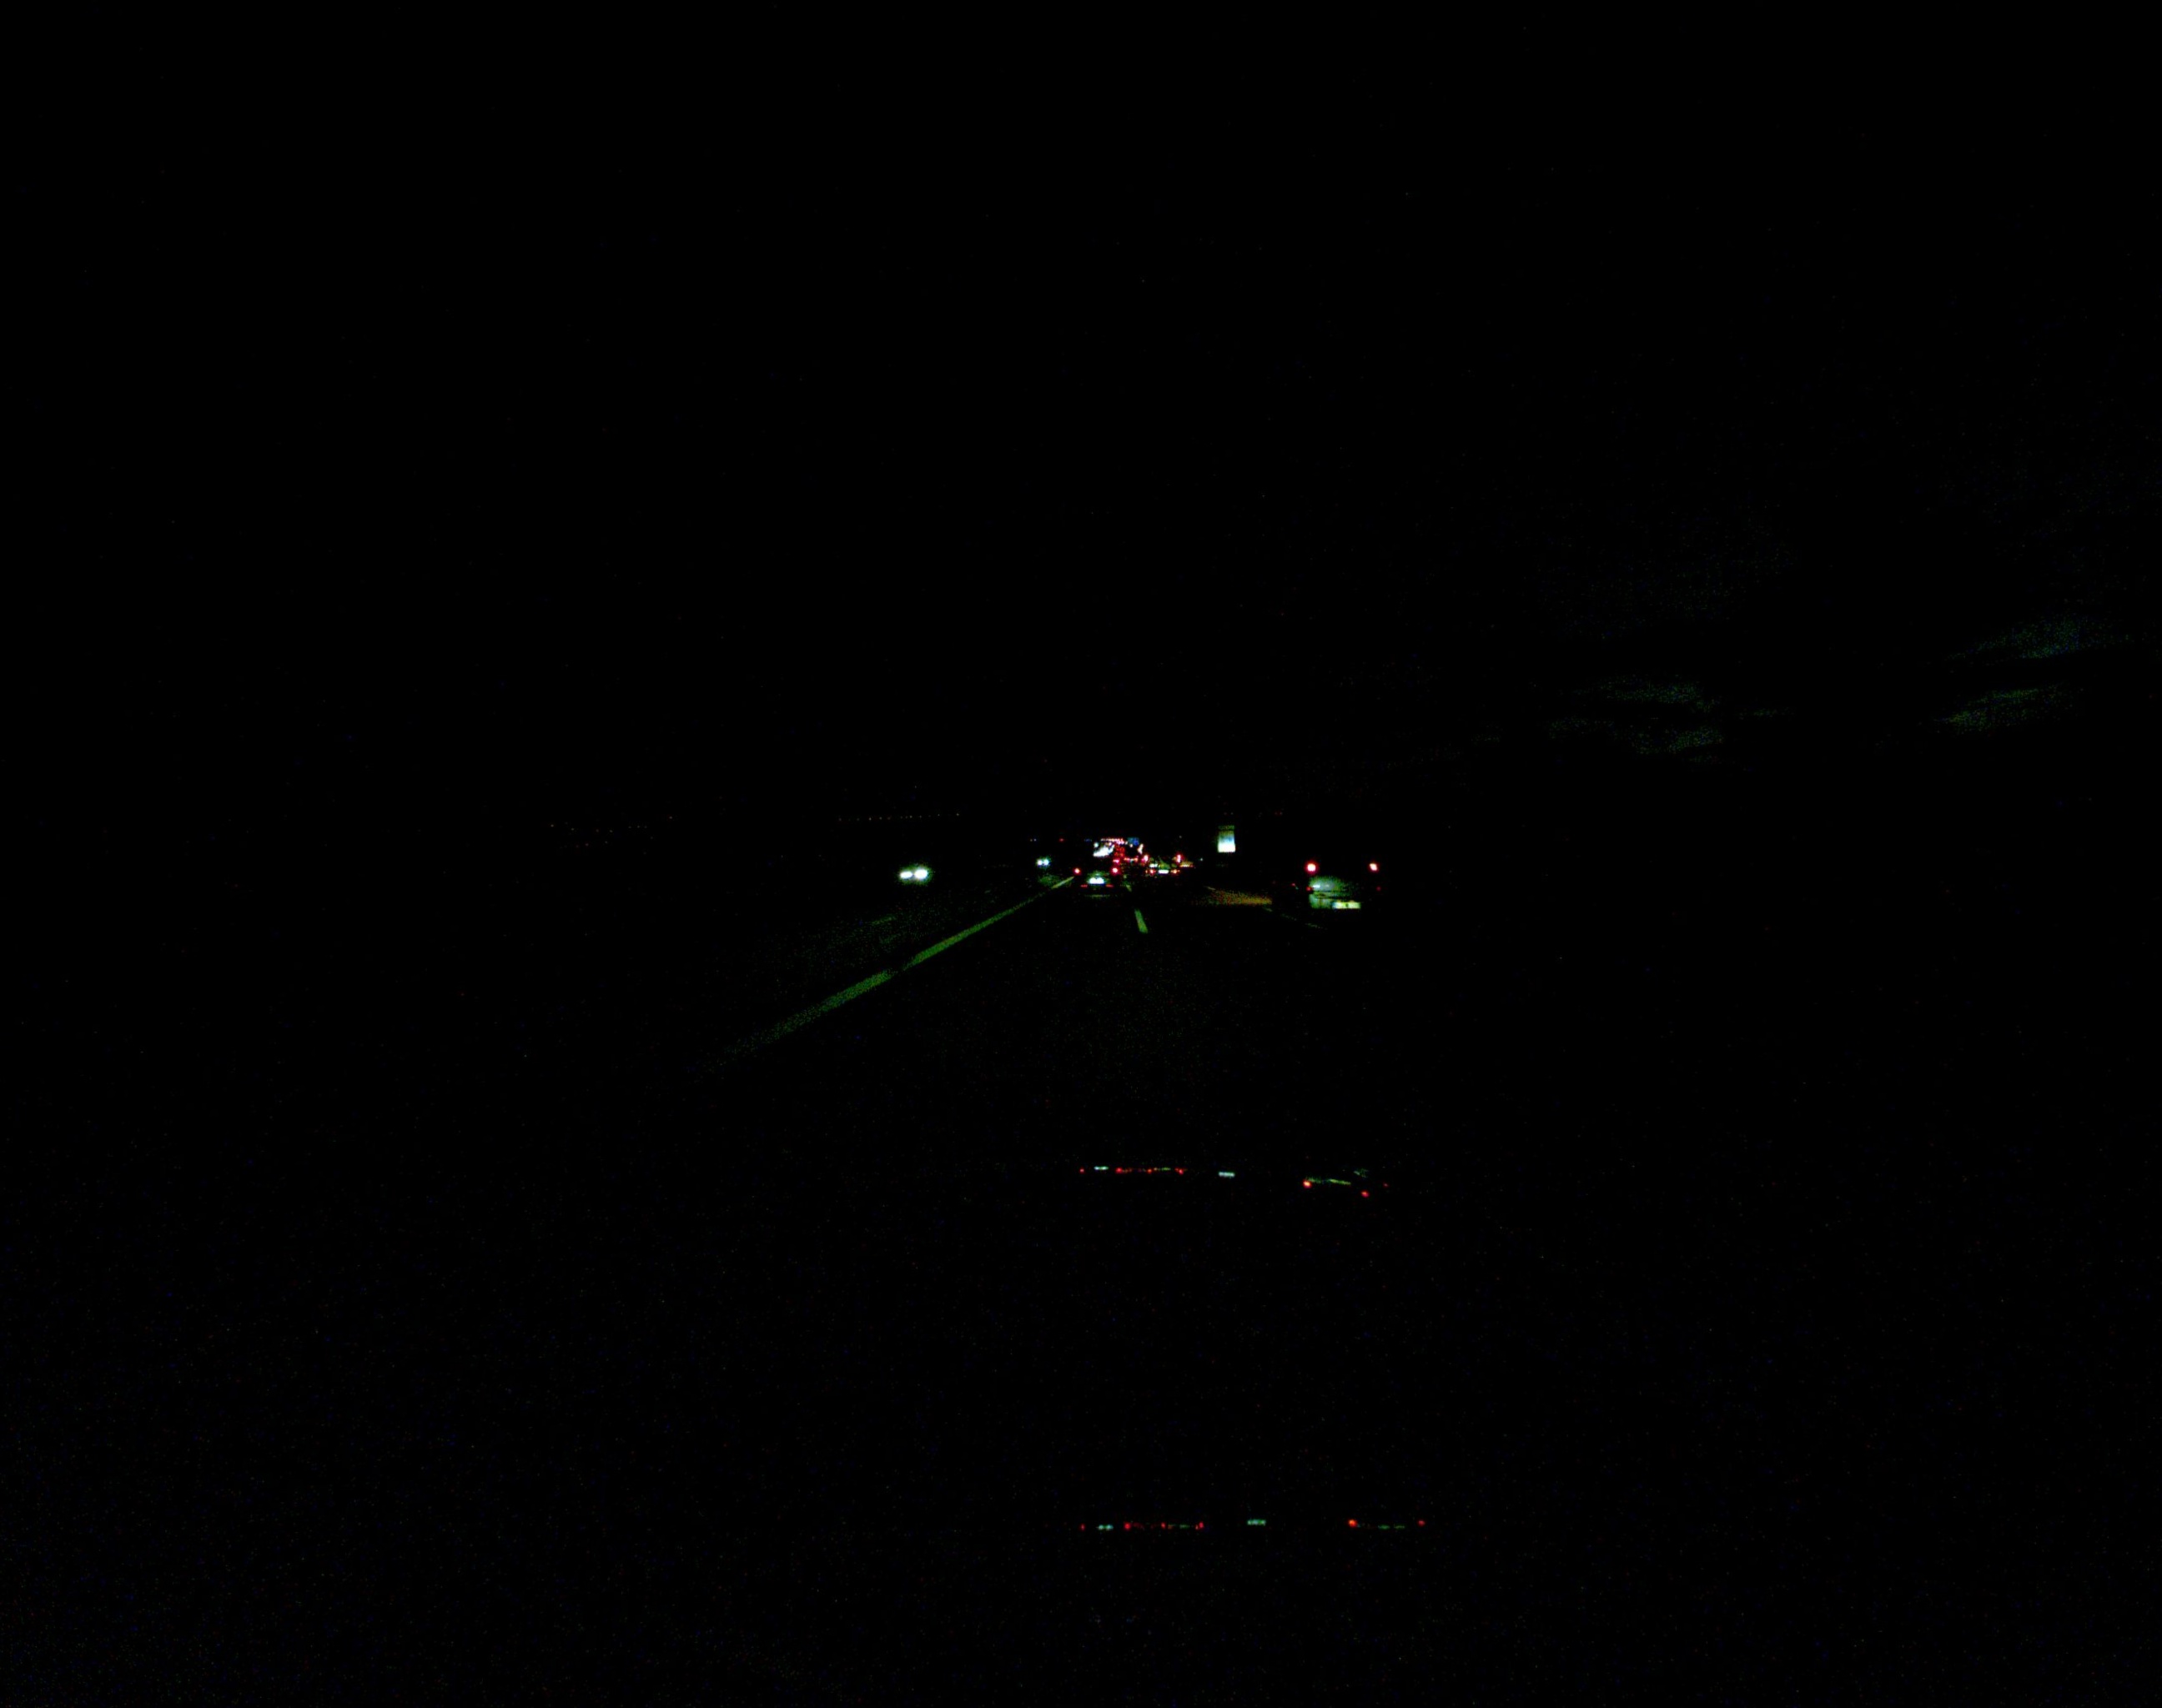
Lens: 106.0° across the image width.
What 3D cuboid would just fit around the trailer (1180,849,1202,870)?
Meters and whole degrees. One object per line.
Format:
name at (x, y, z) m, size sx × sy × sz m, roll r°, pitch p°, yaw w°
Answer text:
trailer at (9.198, 0.431, 68.371) m, size 1.559 × 1.693 × 2.823 m, roll -2°, pitch 0°, yaw 3°

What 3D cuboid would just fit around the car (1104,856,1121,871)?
car at (3.370, 0.987, 86.830) m, size 1.737 × 1.440 × 4.371 m, roll -2°, pitch 0°, yaw 3°

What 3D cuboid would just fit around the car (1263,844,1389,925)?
car at (5.417, 0.608, 18.570) m, size 1.640 × 1.596 × 4.512 m, roll -1°, pitch 0°, yaw 2°

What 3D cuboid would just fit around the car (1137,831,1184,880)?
car at (4.486, 0.048, 47.012) m, size 2.342 × 2.535 × 5.705 m, roll -2°, pitch 0°, yaw 3°

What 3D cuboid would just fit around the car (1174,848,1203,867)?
car at (9.463, 0.306, 72.026) m, size 2.154 × 1.563 × 4.726 m, roll -2°, pitch 0°, yaw 3°

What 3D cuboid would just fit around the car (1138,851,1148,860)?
car at (15.558, 0.453, 206.002) m, size 2.342 × 2.075 × 4.726 m, roll -2°, pitch 0°, yaw 3°

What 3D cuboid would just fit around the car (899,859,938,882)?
car at (-13.893, 1.377, 70.067) m, size 2.036 × 1.720 × 4.778 m, roll -4°, pitch 0°, yaw 3°

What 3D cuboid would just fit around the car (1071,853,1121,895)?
car at (0.647, 0.742, 32.198) m, size 1.786 × 1.469 × 3.776 m, roll -1°, pitch 0°, yaw 3°

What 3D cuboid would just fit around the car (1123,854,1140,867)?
car at (7.711, 0.968, 124.650) m, size 2.342 × 1.914 × 4.726 m, roll -2°, pitch 0°, yaw 3°

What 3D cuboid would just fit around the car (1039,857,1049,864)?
car at (-8.591, 1.409, 189.379) m, size 1.987 × 1.419 × 4.984 m, roll -4°, pitch 0°, yaw 1°

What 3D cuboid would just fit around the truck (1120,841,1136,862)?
truck at (9.218, -0.478, 159.744) m, size 2.771 × 3.955 × 7.995 m, roll -2°, pitch 0°, yaw 1°
